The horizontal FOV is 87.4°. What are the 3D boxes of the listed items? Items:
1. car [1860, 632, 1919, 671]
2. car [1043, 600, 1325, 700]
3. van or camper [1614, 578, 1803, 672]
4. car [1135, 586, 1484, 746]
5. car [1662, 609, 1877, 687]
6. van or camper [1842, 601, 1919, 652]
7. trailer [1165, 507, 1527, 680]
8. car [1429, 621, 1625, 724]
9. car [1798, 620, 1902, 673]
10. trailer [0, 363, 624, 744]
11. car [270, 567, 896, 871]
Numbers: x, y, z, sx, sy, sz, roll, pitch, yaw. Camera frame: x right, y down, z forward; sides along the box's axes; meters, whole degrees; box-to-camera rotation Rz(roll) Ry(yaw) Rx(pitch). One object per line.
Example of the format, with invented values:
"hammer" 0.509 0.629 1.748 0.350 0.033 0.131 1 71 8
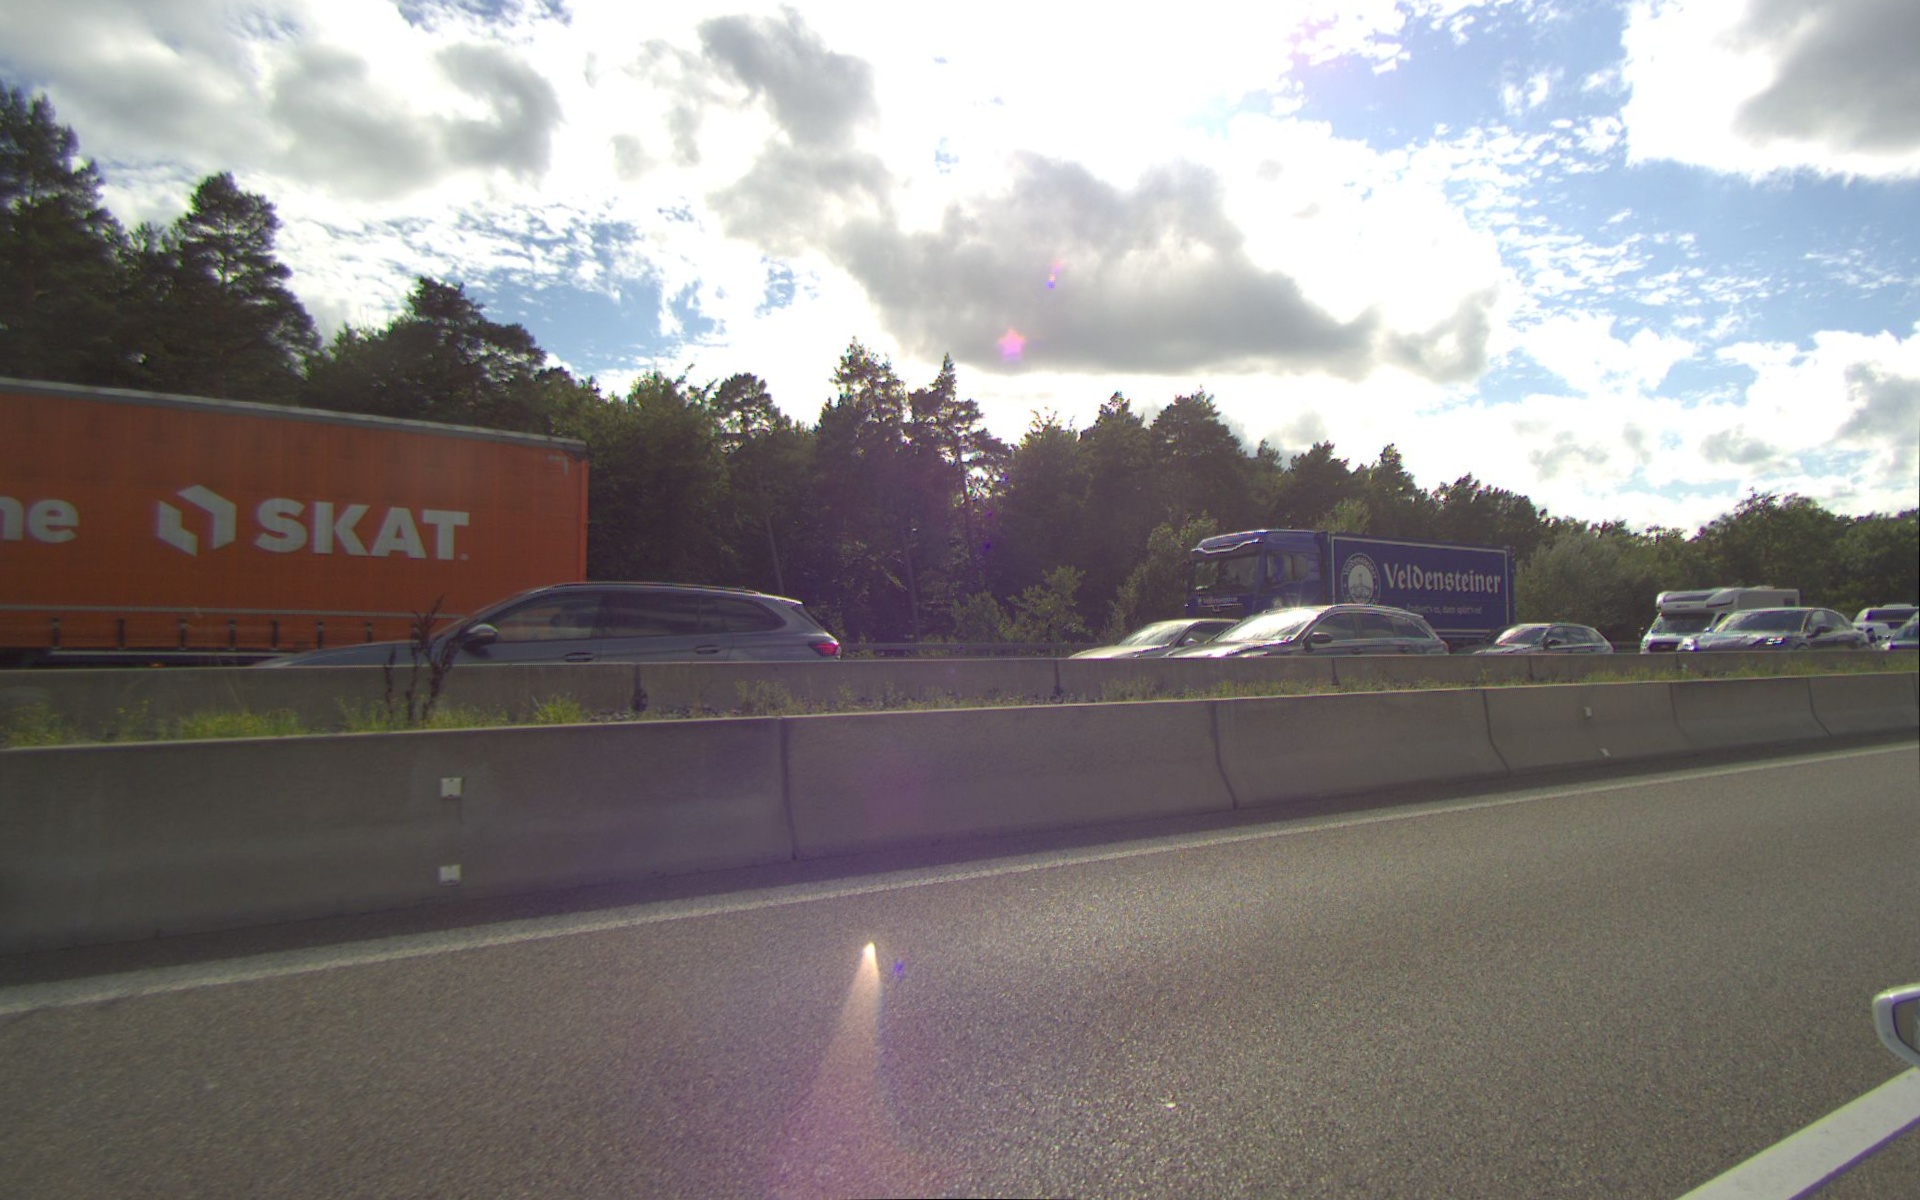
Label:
"car" 32.920 1.743 34.410 4.513 1.247 1.823 1 0 -31
"car" 3.886 0.804 17.108 4.846 1.502 1.715 1 -1 -31
"van or camper" 25.861 0.910 34.615 7.394 2.927 2.458 3 -1 -30
"car" 4.654 0.787 13.185 4.576 1.787 1.808 1 0 -31
"car" 16.432 0.929 20.325 4.846 1.406 1.823 1 -1 -31
"van or camper" 40.274 1.130 43.080 4.632 2.038 2.273 1 0 -30
"trailer" 9.991 -0.030 25.380 10.101 3.707 2.874 1 0 -30
"car" 12.897 1.565 22.790 4.583 2.088 1.823 1 0 -31
"car" 35.342 1.804 39.850 4.430 1.941 1.823 1 0 -31
"trailer" -11.334 -0.528 12.871 13.024 4.377 2.626 2 0 -31
"car" -3.031 0.863 8.675 4.628 2.040 1.735 2 0 -30
